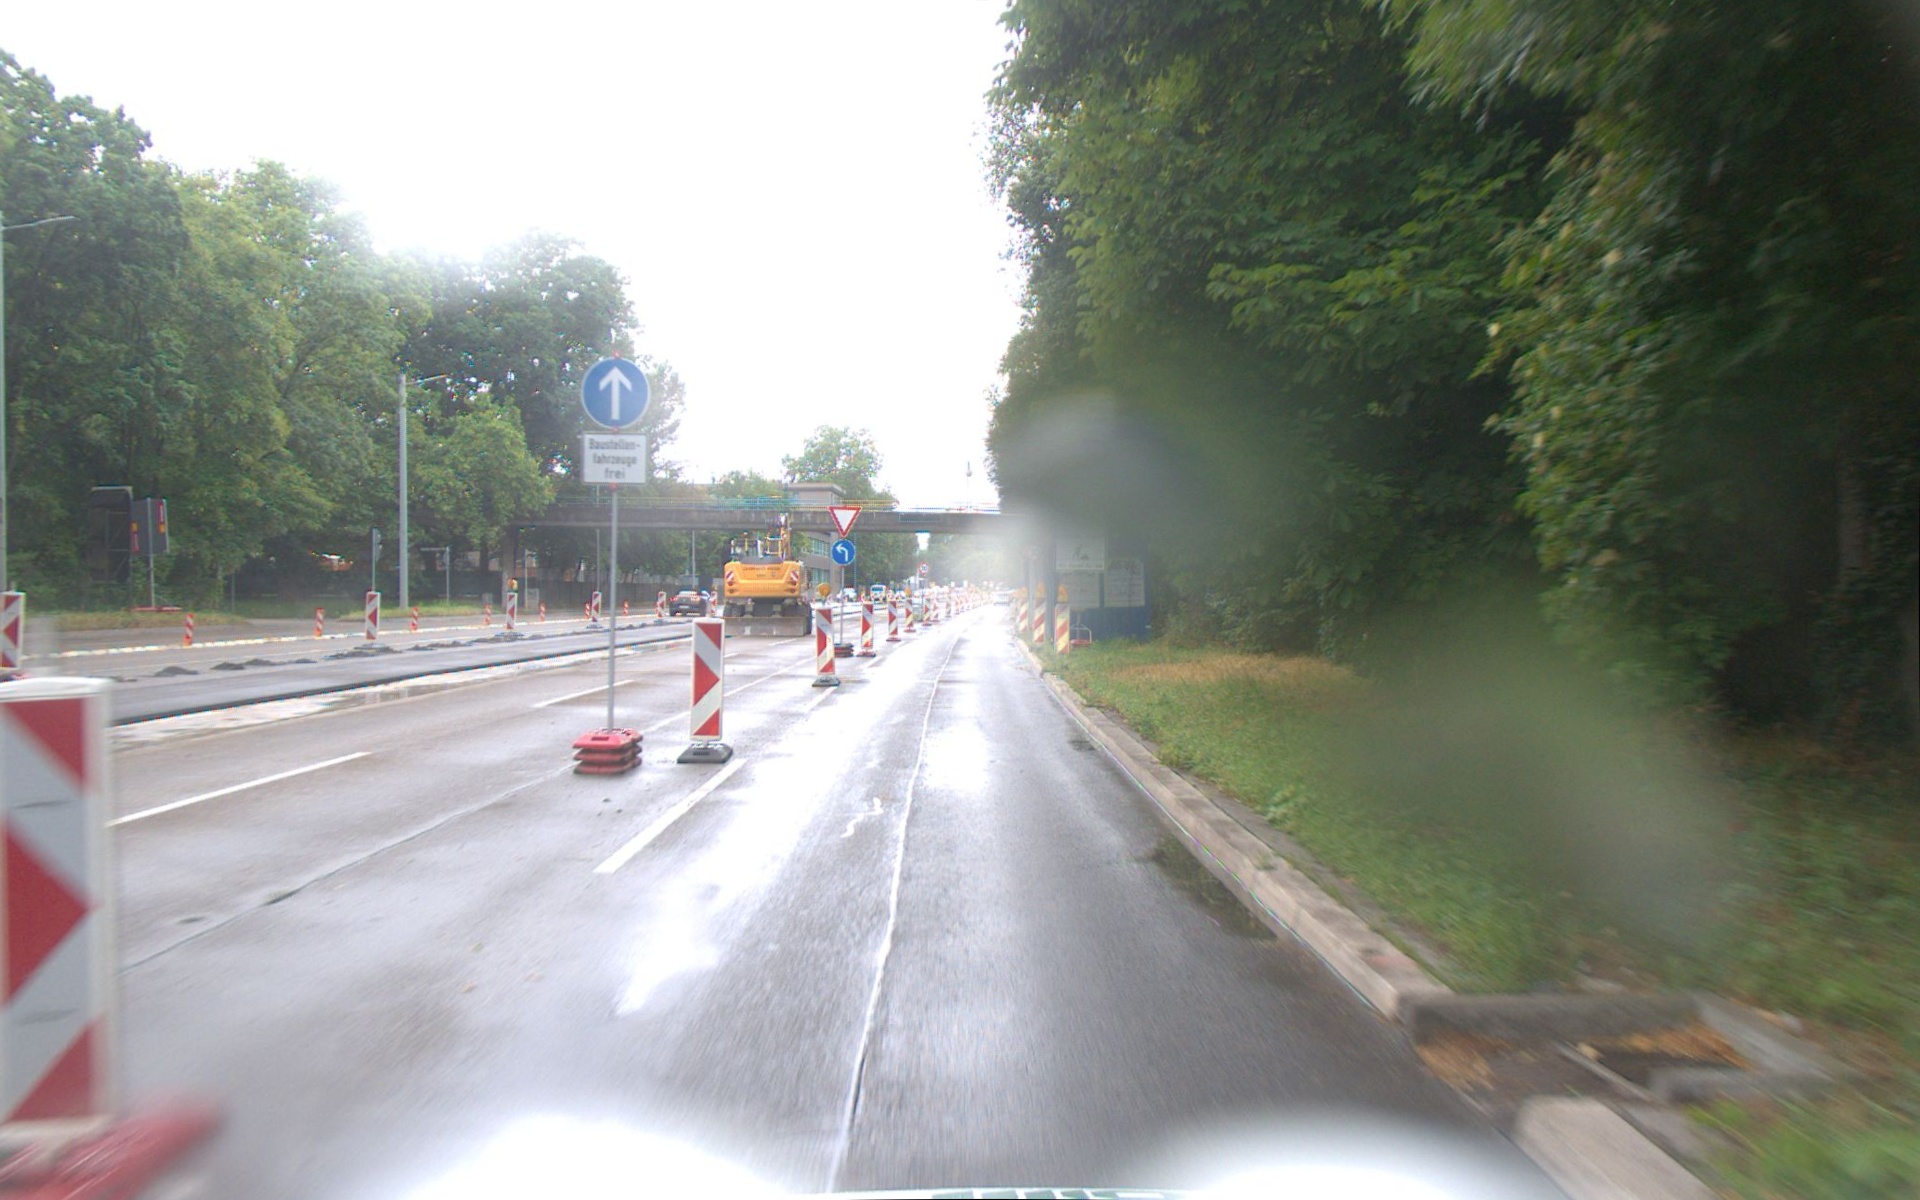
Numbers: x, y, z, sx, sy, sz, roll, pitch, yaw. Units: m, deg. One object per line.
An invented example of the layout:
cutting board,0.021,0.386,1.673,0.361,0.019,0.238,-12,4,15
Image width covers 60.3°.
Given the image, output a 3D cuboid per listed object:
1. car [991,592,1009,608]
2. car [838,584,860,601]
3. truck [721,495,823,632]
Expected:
car,4.450,0.000,183.578,1.952,1.668,4.001,-1,0,2
car,-12.452,-0.853,185.867,1.930,1.837,4.609,-1,0,3
truck,-6.503,-1.215,58.606,2.840,4.333,10.749,1,0,-3
